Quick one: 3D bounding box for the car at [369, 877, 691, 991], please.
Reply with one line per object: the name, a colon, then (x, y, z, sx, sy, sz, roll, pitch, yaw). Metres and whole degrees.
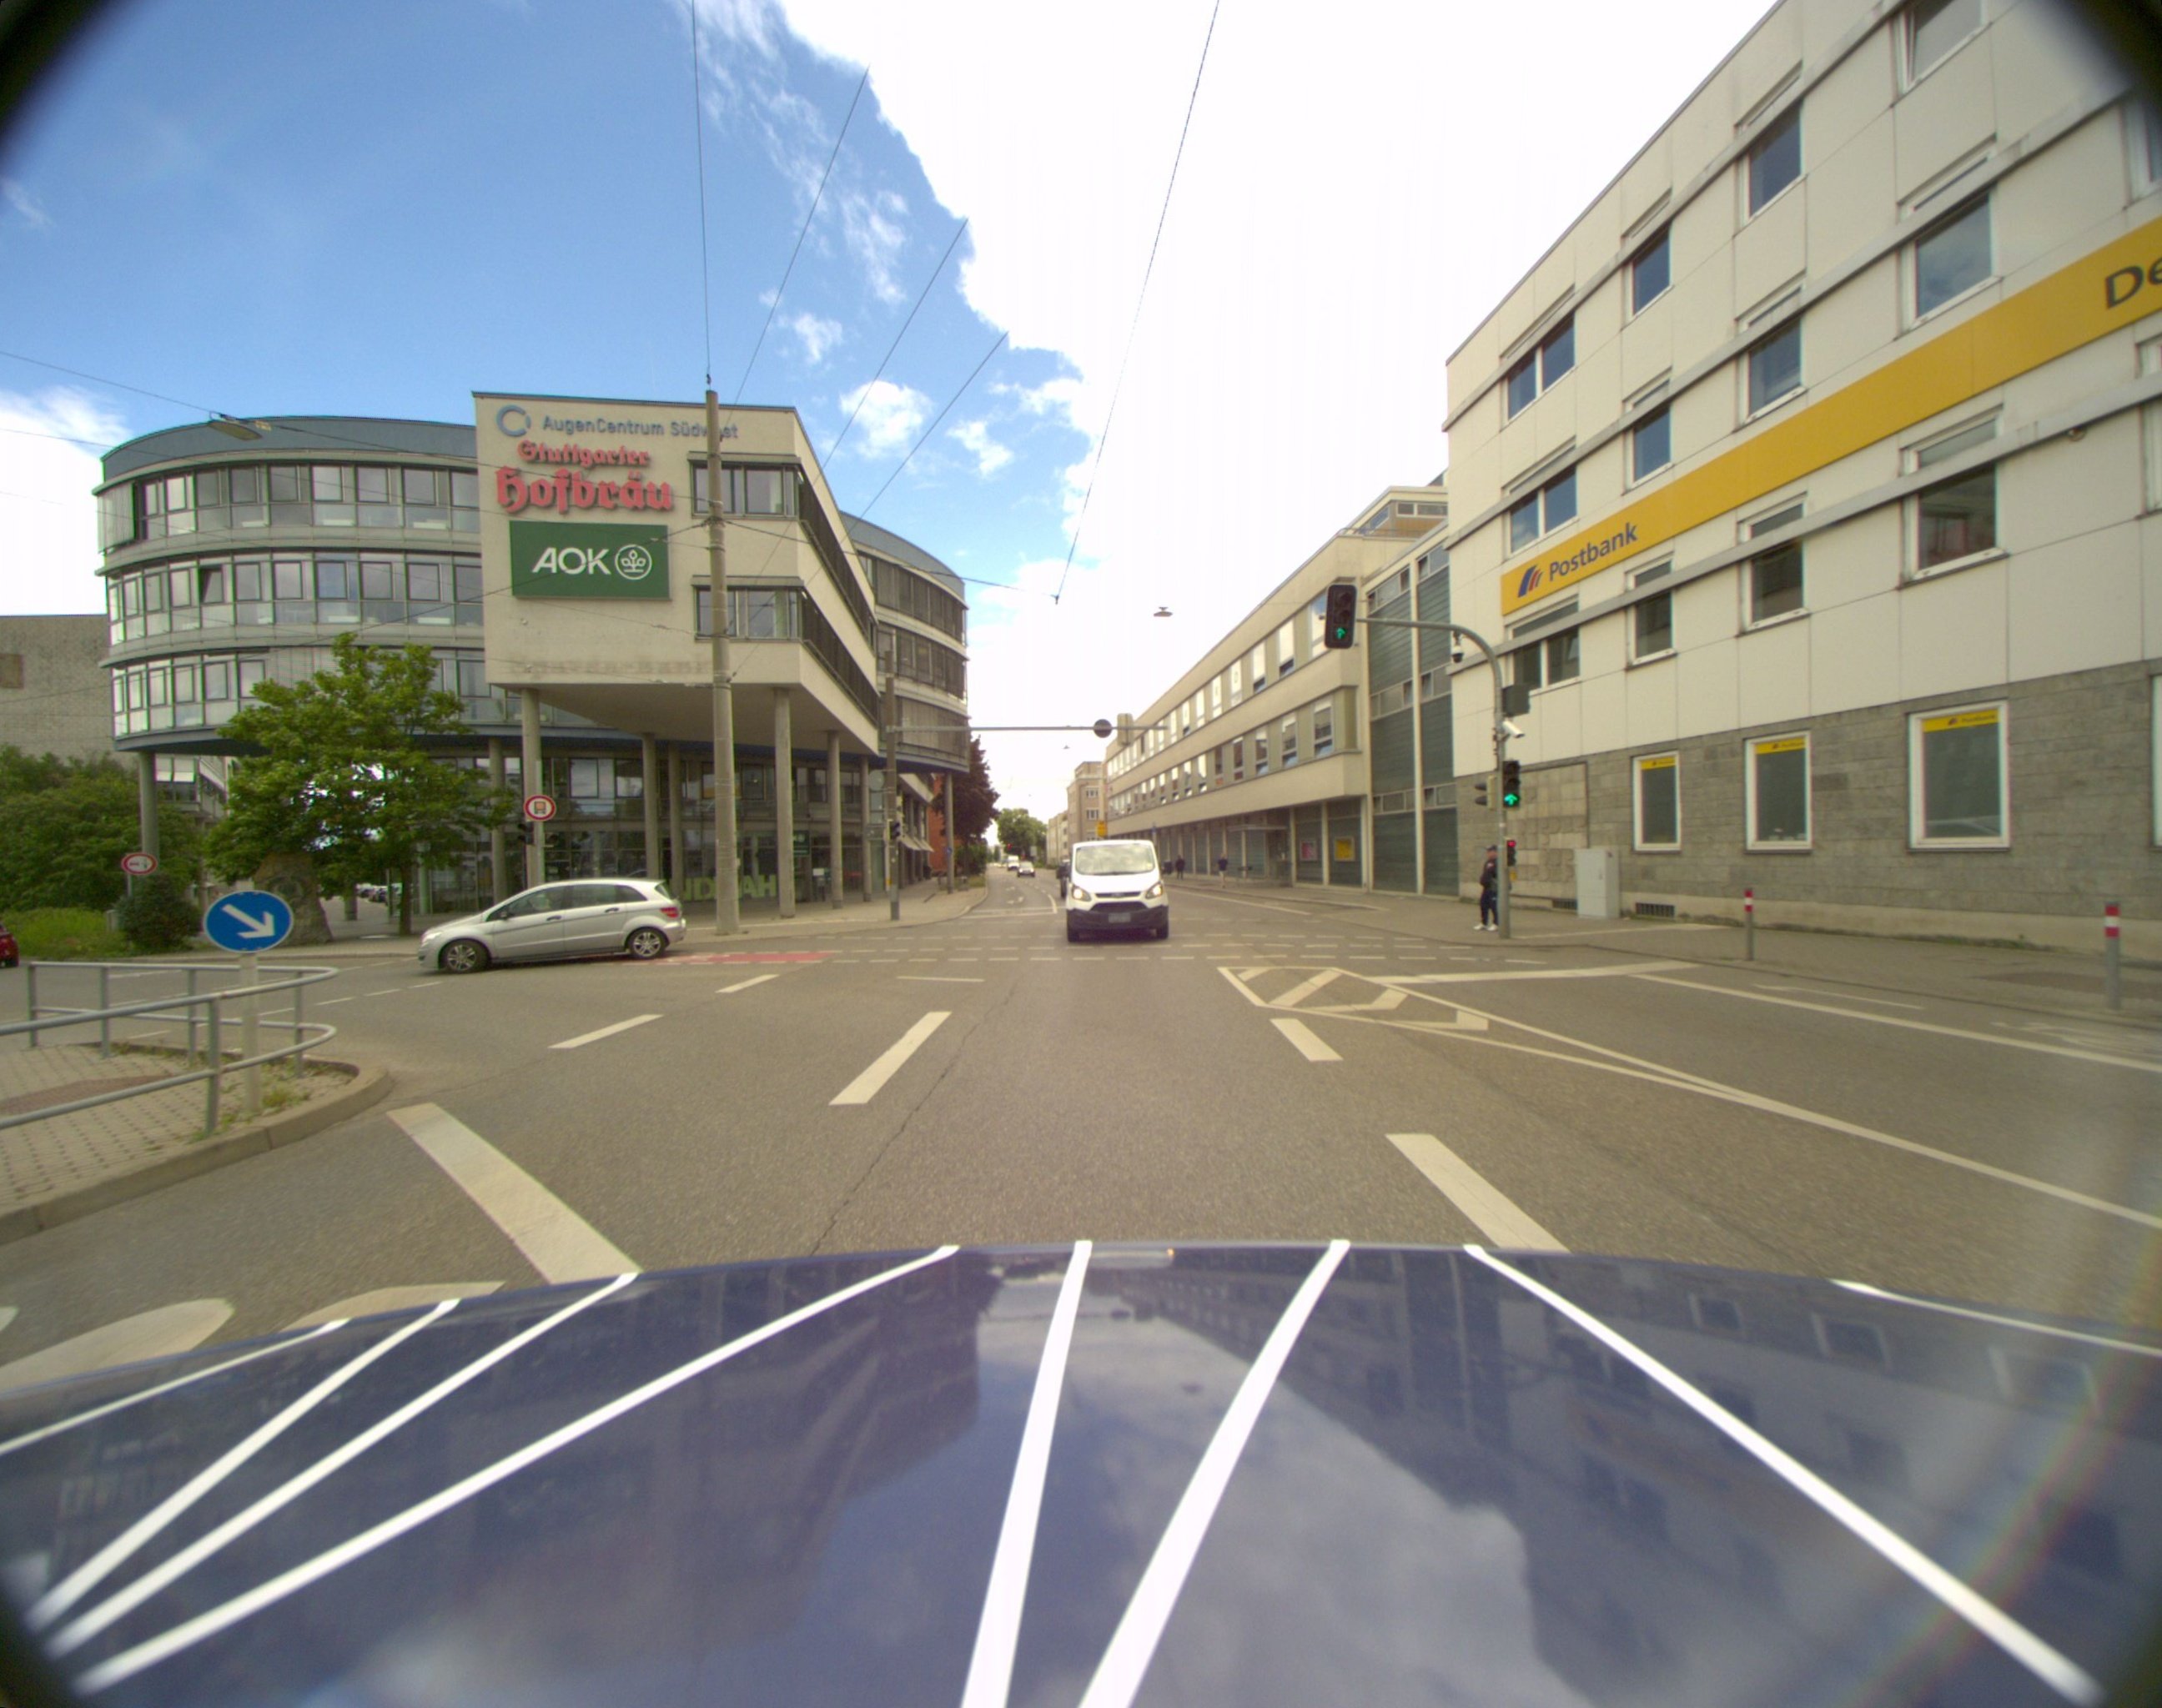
car: (-10.083, 1.377, 14.452, 4.575, 1.537, 1.996, -4, 0, -25)

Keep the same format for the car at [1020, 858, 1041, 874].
car: (-5.224, 1.237, 78.581, 1.966, 1.517, 4.569, -1, 0, -5)

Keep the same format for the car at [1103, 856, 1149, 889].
car: (2.348, 0.949, 40.604, 1.805, 1.684, 3.895, -1, 0, -6)

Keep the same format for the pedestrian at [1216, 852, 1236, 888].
pedestrian: (7.136, 0.769, 37.432, 0.591, 1.708, 1.054, -1, 0, -9)

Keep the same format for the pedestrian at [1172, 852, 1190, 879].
pedestrian: (6.706, 0.767, 51.158, 0.864, 1.708, 1.031, -3, 1, -9)

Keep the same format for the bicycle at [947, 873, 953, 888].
bicycle: (-10.281, 2.086, 59.581, 0.362, 1.080, 2.026, -3, 1, -8)

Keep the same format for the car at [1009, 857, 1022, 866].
car: (-11.457, 1.303, 132.063, 1.966, 1.517, 4.568, -1, 0, -9)

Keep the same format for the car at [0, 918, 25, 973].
car: (-31.048, 2.603, 21.107, 3.990, 1.443, 1.707, -4, 0, 32)

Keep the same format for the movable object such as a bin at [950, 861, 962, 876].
movable object such as a bin: (-12.395, 1.475, 75.216, 1.131, 1.457, 1.411, 0, 0, -8)

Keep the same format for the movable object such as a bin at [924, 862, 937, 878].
movable object such as a bin: (-14.251, 1.483, 72.026, 1.101, 1.457, 1.332, 0, 0, -8)

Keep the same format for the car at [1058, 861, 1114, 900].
car: (0.140, 1.103, 33.417, 1.966, 1.517, 4.569, -1, 0, -5)

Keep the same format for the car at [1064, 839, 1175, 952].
car: (0.755, 0.759, 16.313, 1.964, 1.986, 5.088, -1, 0, 1)

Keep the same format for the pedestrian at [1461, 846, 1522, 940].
pedestrian: (7.759, 0.720, 14.383, 0.649, 1.708, 0.783, -3, 0, 1)

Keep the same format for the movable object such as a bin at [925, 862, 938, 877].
movable object such as a bin: (-14.453, 1.482, 73.371, 1.125, 1.457, 1.332, 0, 0, -8)

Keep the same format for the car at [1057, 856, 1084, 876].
car: (-0.948, 1.049, 66.421, 1.966, 1.617, 4.569, -1, 0, -5)
